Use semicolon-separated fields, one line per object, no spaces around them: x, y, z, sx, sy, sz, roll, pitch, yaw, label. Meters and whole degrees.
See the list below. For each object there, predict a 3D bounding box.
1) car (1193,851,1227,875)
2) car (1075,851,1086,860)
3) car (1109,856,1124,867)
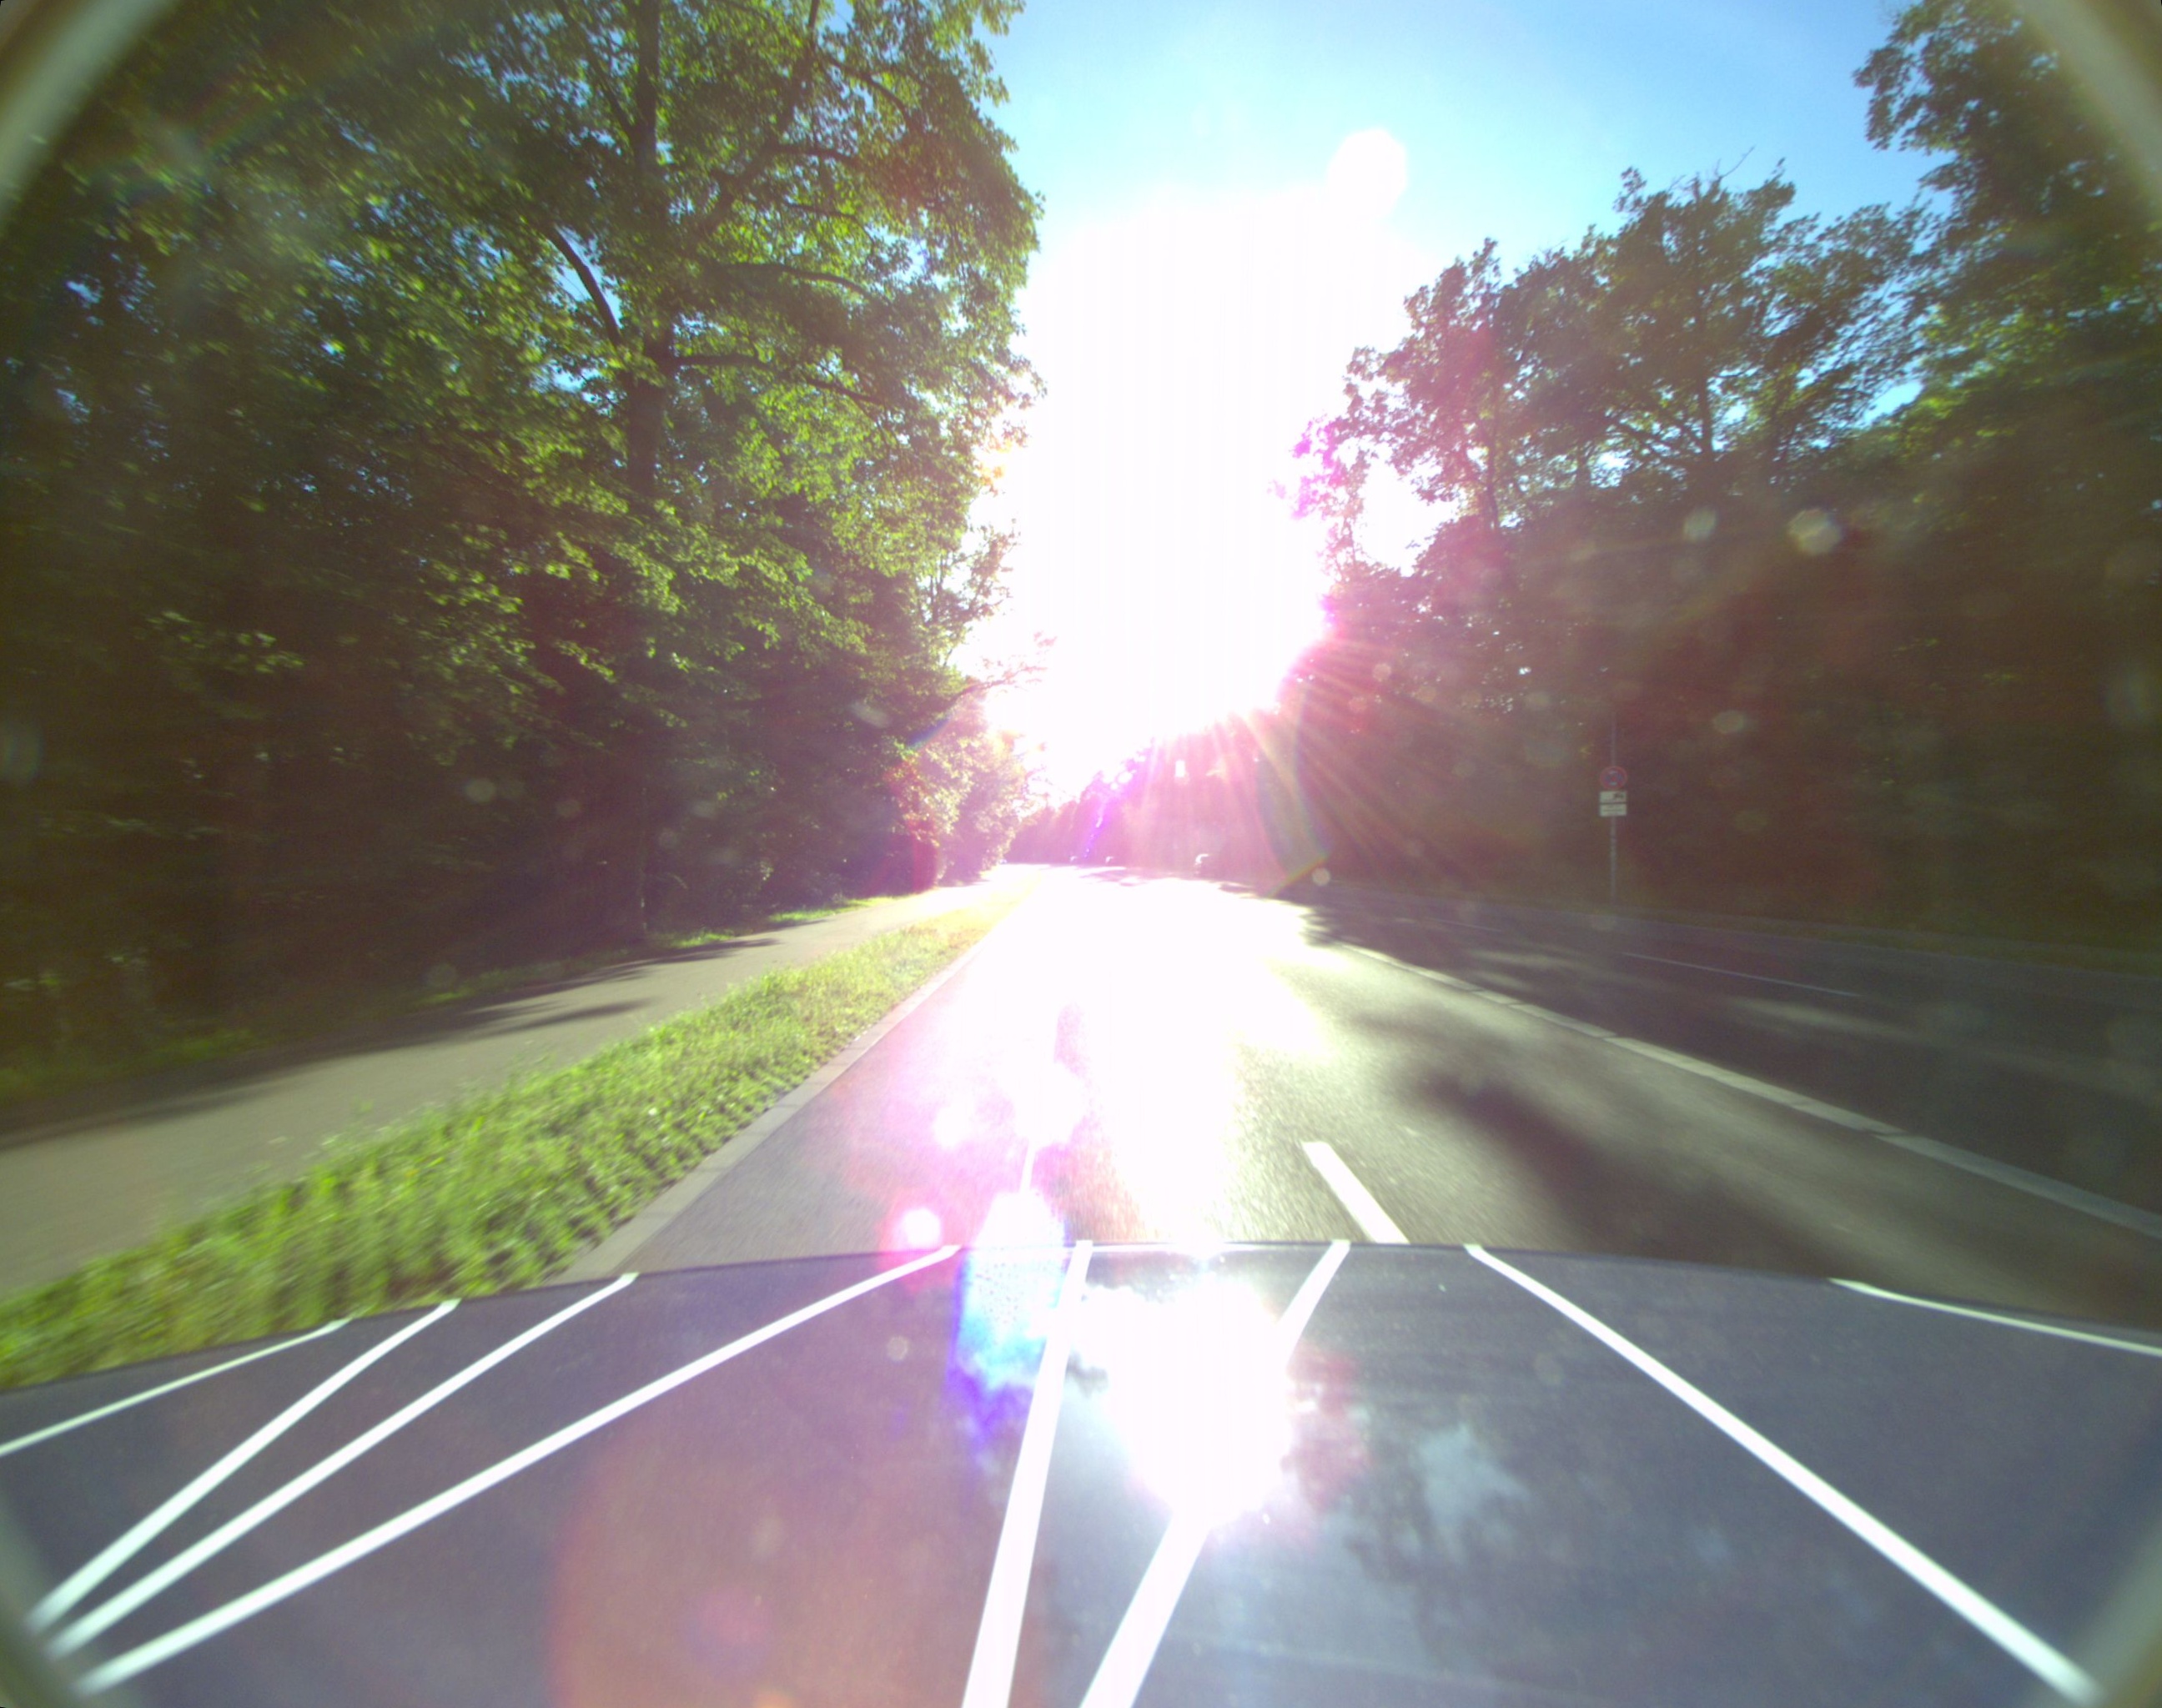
8.287;0.562;49.163;1.499;1.436;3.500;-2;0;-1;car
-0.102;0.347;153.804;1.813;1.653;4.519;-1;0;-7;car
5.096;1.064;108.987;1.714;1.415;4.129;-1;0;-2;car
